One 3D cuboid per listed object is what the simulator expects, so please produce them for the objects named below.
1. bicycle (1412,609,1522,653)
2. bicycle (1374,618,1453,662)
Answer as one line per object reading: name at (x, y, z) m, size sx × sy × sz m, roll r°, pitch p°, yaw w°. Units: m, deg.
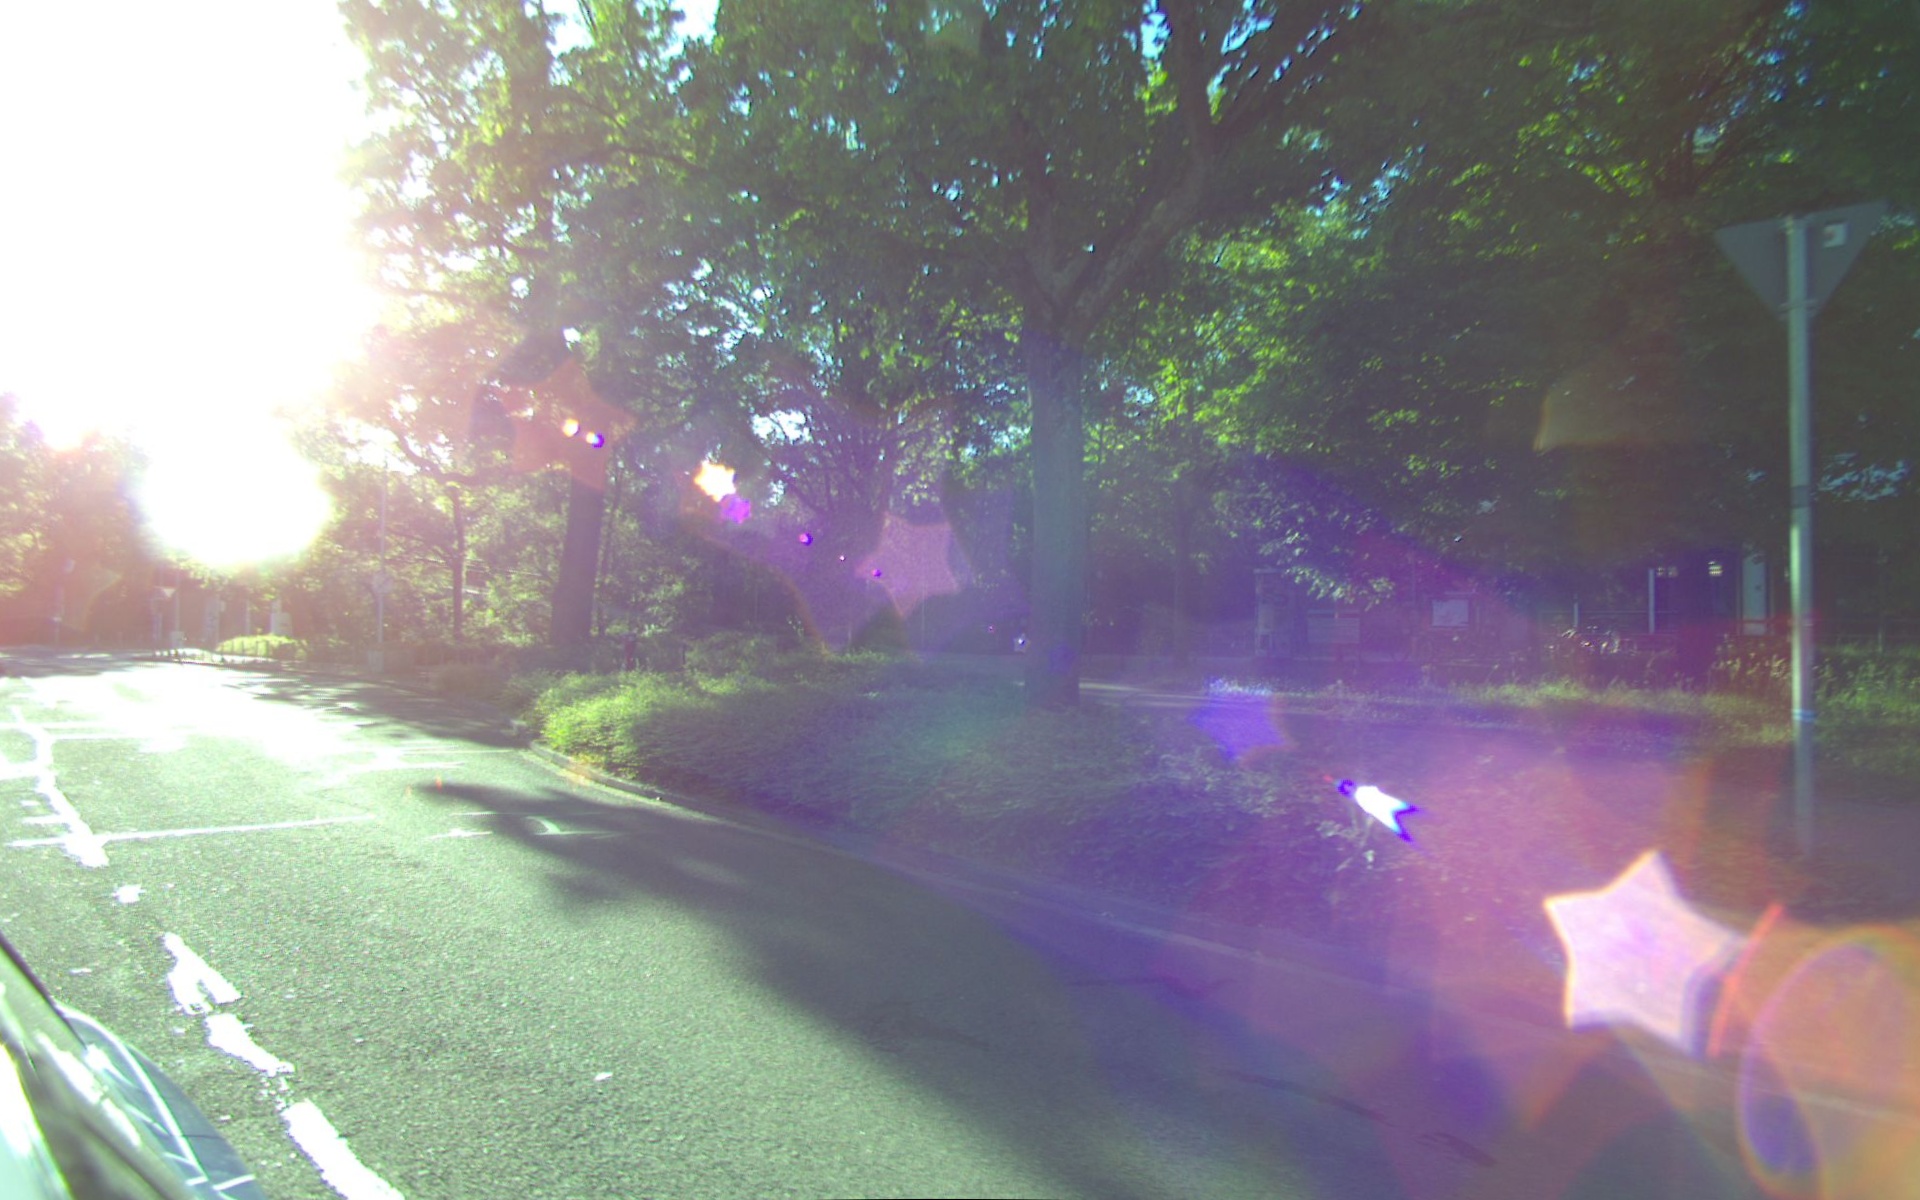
bicycle at (13.300, 0.813, 26.668) m, size 0.528 × 1.079 × 2.642 m, roll -4°, pitch 1°, yaw -32°
bicycle at (11.896, 1.029, 26.630) m, size 0.528 × 1.079 × 2.435 m, roll -3°, pitch 0°, yaw -11°
